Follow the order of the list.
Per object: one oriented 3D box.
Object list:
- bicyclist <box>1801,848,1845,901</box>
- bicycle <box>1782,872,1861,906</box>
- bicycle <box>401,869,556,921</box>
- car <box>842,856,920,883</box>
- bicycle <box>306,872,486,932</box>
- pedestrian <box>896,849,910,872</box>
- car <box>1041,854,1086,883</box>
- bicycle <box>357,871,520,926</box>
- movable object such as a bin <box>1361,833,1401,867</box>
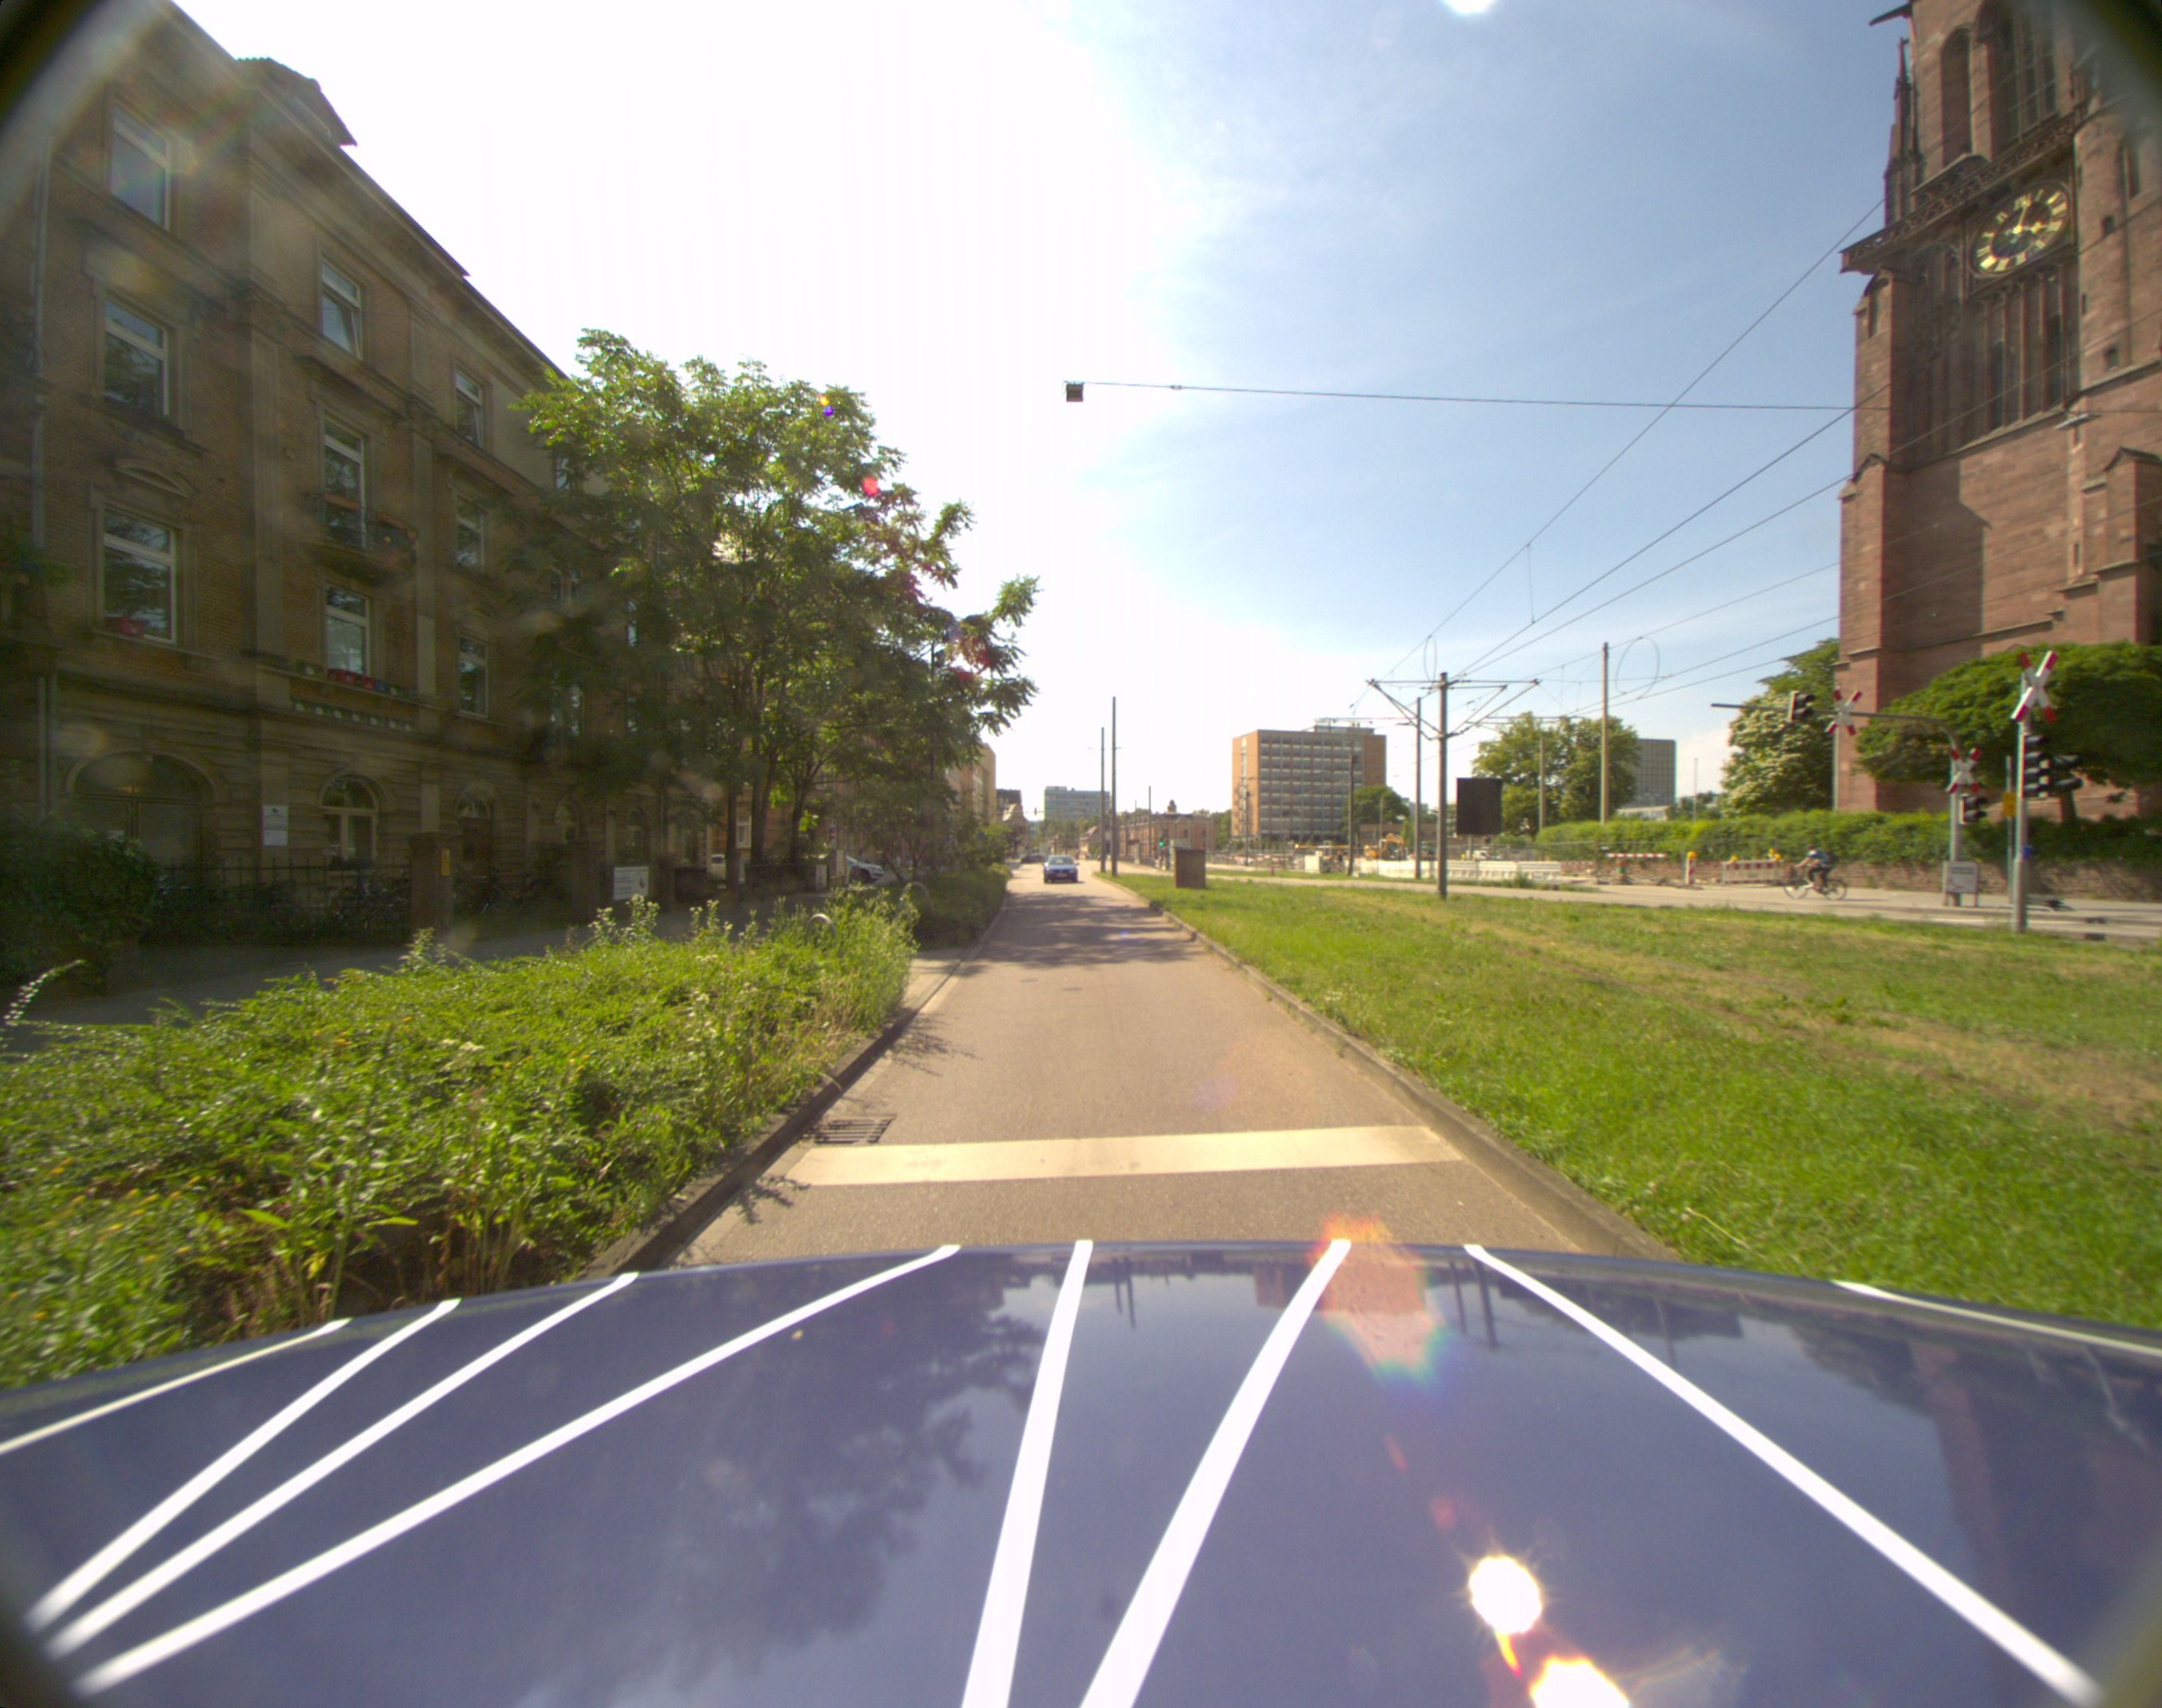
[{"bbox_3d":[24.846,0.668,25.454,0.645,1.752,0.794,0,1,-3],"label":"bicyclist"},{"bbox_3d":[24.840,1.151,25.540,0.657,1.040,1.969,0,0,-3],"label":"bicycle"},{"bbox_3d":[-13.931,0.918,17.690,2.583,1.105,1.111,0,0,-20],"label":"bicycle"},{"bbox_3d":[-11.319,0.852,43.214,4.093,1.507,1.886,0,0,-9],"label":"car"},{"bbox_3d":[-13.742,0.929,15.356,2.584,1.105,0.772,0,1,-24],"label":"bicycle"},{"bbox_3d":[-13.325,0.495,56.982,0.797,1.708,0.967,0,1,-1],"label":"pedestrian"},{"bbox_3d":[-0.847,0.708,39.790,1.886,1.401,4.094,0,0,5],"label":"car"},{"bbox_3d":[-13.799,0.926,16.425,2.583,1.105,0.772,0,1,-20],"label":"bicycle"},{"bbox_3d":[34.900,-0.439,88.332,3.341,3.859,2.931,0,1,-34],"label":"movable object such as a bin"}]
